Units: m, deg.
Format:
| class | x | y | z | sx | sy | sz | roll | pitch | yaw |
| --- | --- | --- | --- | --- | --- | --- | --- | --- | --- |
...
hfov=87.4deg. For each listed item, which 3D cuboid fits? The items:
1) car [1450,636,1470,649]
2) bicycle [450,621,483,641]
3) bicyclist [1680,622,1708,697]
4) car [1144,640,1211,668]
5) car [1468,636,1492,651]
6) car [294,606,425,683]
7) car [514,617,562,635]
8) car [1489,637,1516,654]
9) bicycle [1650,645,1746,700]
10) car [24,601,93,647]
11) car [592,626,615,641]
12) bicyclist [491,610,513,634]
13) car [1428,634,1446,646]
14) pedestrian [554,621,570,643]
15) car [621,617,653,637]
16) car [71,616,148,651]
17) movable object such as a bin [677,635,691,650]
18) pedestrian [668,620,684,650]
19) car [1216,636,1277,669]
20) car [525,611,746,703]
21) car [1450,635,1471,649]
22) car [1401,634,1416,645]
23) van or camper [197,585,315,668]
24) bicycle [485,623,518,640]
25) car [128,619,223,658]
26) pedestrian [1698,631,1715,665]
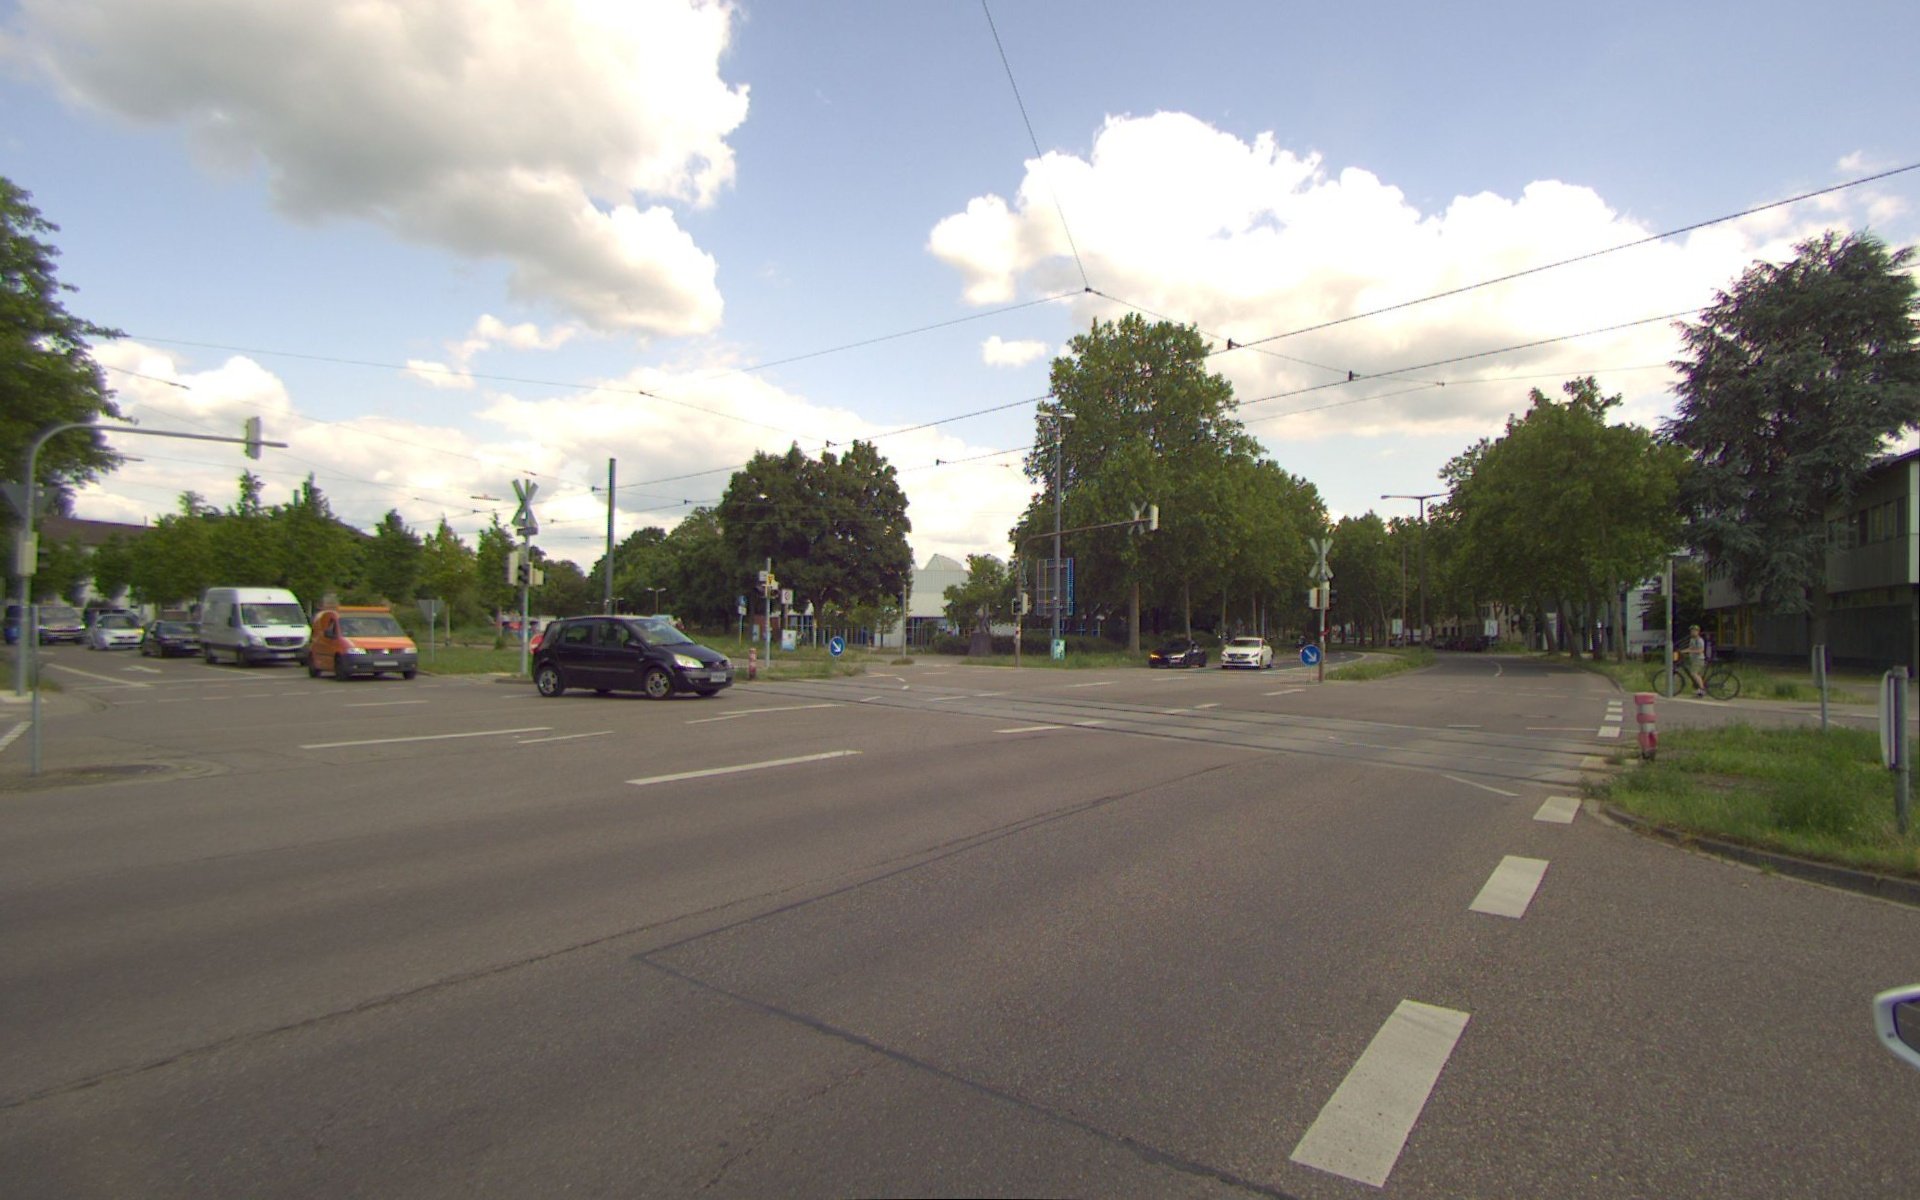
| class | x | y | z | sx | sy | sz | roll | pitch | yaw |
| --- | --- | --- | --- | --- | --- | --- | --- | --- | --- |
| car | 67.545 | 5.782 | 135.692 | 1.961 | 1.595 | 4.000 | 0 | 0 | 20 |
| bicycle | -30.574 | 1.910 | 62.197 | 1.949 | 1.169 | 0.950 | 0 | -2 | 32 |
| bicyclist | 18.431 | 1.475 | 25.221 | 0.537 | 1.834 | 0.538 | 0 | 0 | 41 |
| car | 10.250 | 2.506 | 47.250 | 1.614 | 1.207 | 3.693 | 0 | -2 | 38 |
| car | 60.988 | 5.088 | 117.807 | 1.961 | 1.595 | 4.000 | 0 | 0 | 20 |
| car | -15.731 | 1.114 | 26.229 | 4.311 | 1.823 | 1.873 | -1 | -2 | 44 |
| car | -38.819 | 2.404 | 92.464 | 3.948 | 1.550 | 1.987 | 2 | -2 | -27 |
| car | 57.459 | 4.809 | 106.399 | 1.961 | 1.595 | 4.000 | 0 | 0 | 20 |
| bicycle | 18.485 | 1.791 | 25.187 | 1.924 | 1.252 | 0.538 | 0 | 0 | 41 |
| car | -44.856 | 1.190 | 49.935 | 4.315 | 2.184 | 1.848 | 0 | -2 | 39 |
| car | -40.623 | 3.781 | 114.396 | 1.974 | 1.661 | 4.361 | 2 | -2 | -26 |
| bicyclist | -29.006 | 1.409 | 63.615 | 0.820 | 1.509 | 0.962 | 0 | -1 | 27 |
| car | 71.674 | 5.979 | 151.010 | 1.961 | 1.595 | 4.000 | 0 | 0 | 20 |
| pedestrian | -24.985 | 1.998 | 63.027 | 0.740 | 1.372 | 0.648 | 0 | 0 | 38 |
| car | -27.549 | 2.317 | 85.663 | 1.974 | 1.661 | 4.361 | 2 | -2 | -26 |
| car | -37.898 | 1.489 | 44.742 | 4.315 | 1.450 | 1.804 | 0 | -2 | 39 |
| movable object such as a bin | -15.213 | 2.330 | 55.347 | 0.451 | 0.822 | 0.579 | 0 | 0 | 22 |
| pedestrian | -15.710 | 1.924 | 55.555 | 0.626 | 1.666 | 0.613 | 0 | 0 | 24 |
| car | 13.218 | 2.385 | 46.223 | 1.798 | 1.382 | 4.131 | 0 | -2 | 29 |
| car | -6.440 | 1.076 | 19.957 | 3.974 | 1.652 | 1.735 | 0 | -2 | 22 |
| car | 62.795 | 5.279 | 126.087 | 1.961 | 1.595 | 4.000 | 0 | 0 | 20 |
| car | 73.591 | 6.507 | 164.762 | 1.961 | 1.595 | 4.000 | 0 | 0 | 20 |
| van or camper | -23.567 | 0.860 | 33.516 | 5.951 | 2.557 | 1.971 | -1 | -2 | 43 |
| bicycle | -29.036 | 1.981 | 63.618 | 1.949 | 1.054 | 0.950 | 0 | -2 | 31 |
| car | -30.460 | 1.473 | 38.967 | 4.398 | 1.450 | 1.805 | -1 | -2 | 37 |
| pedestrian | 35.963 | 2.320 | 48.372 | 0.611 | 1.590 | 0.558 | 0 | 0 | 31 |
